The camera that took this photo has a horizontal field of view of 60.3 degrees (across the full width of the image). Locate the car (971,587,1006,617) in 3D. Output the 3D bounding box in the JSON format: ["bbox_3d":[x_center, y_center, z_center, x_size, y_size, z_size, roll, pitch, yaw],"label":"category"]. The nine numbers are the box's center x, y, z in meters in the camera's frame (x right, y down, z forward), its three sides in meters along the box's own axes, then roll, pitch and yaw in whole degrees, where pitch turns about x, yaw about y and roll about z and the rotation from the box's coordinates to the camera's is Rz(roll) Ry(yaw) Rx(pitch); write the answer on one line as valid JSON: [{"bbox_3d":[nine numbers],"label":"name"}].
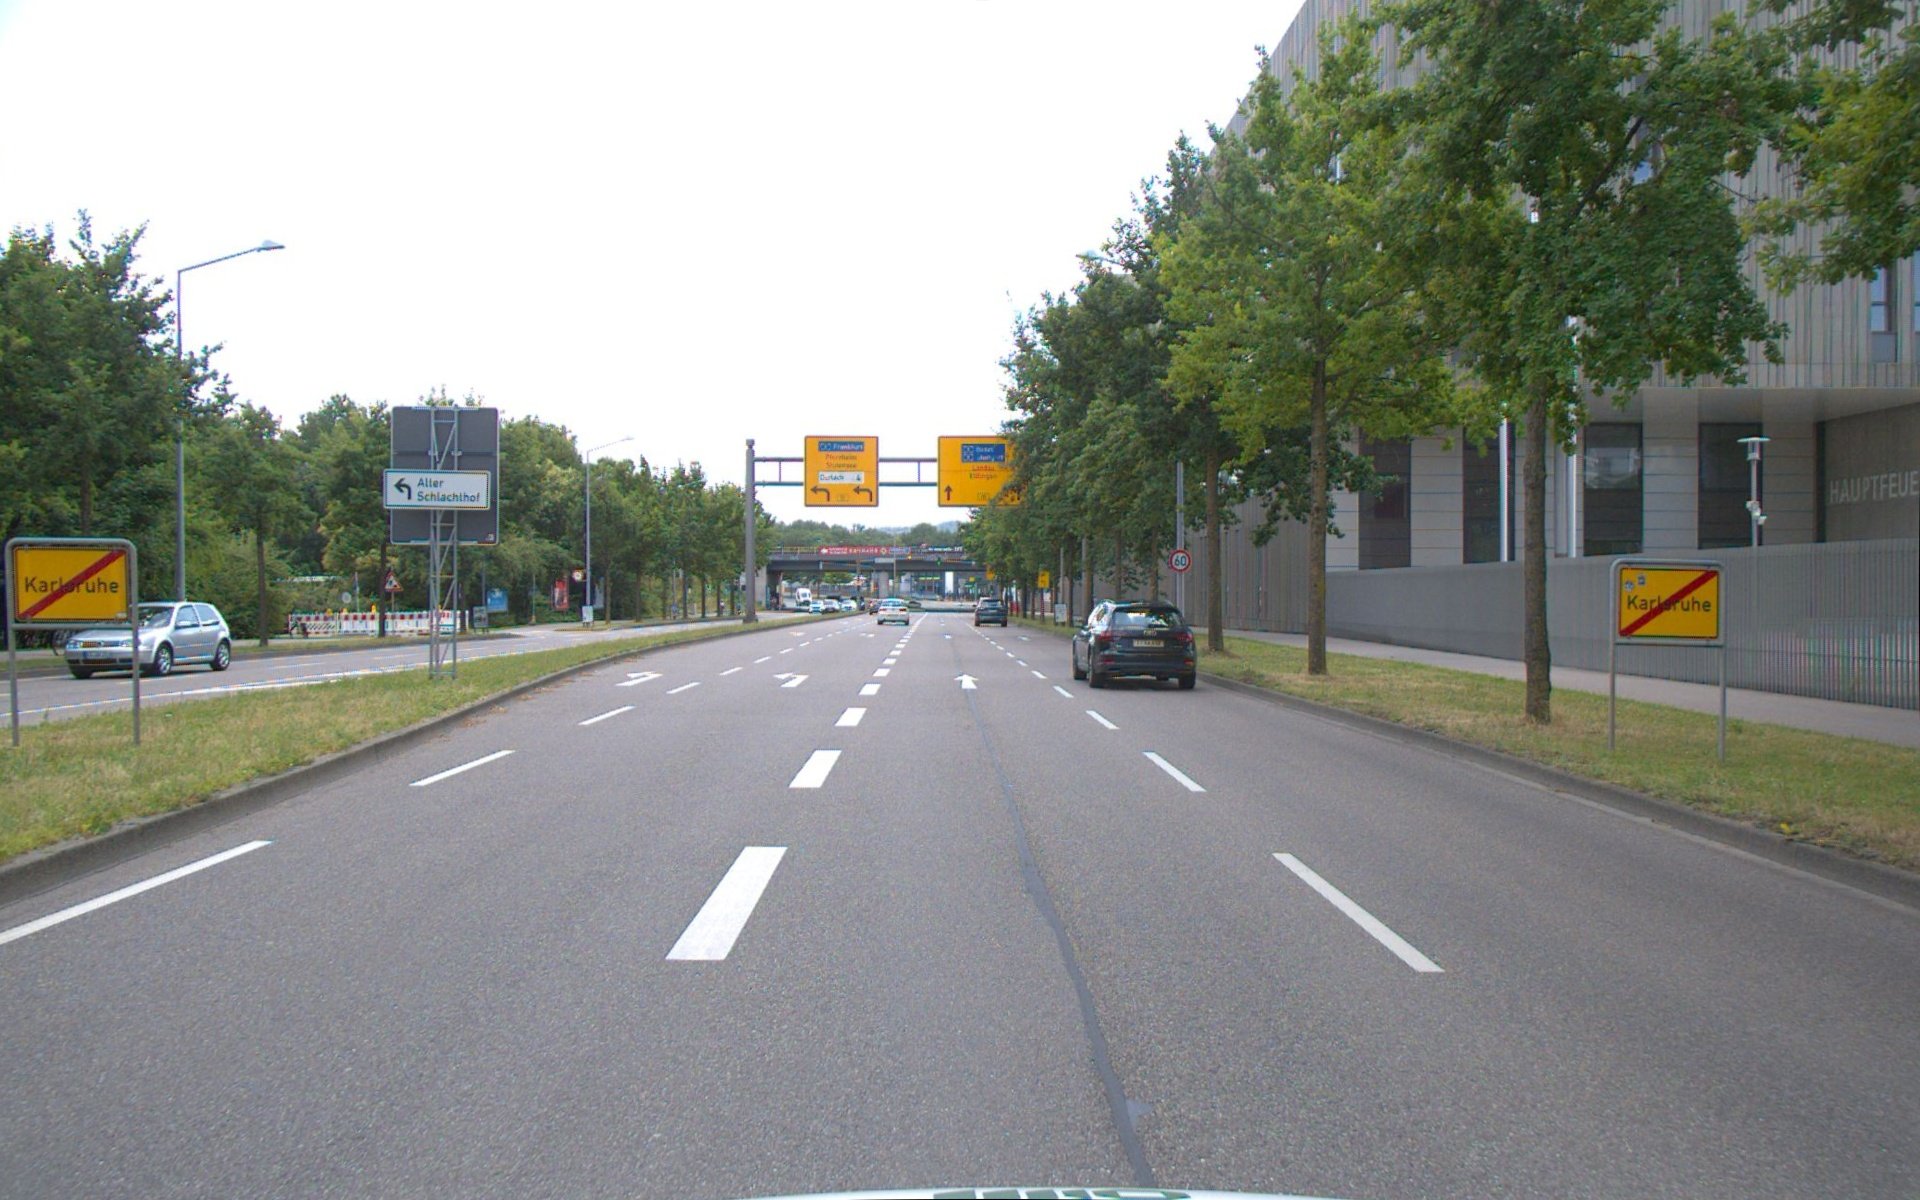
[{"bbox_3d":[1.661,0.094,95.350,1.952,1.654,4.310,-1,1,1],"label":"car"}]

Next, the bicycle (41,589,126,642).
[{"bbox_3d":[-21.746,0.365,41.106,0.791,1.248,2.502,0,0,0],"label":"bicycle"}]

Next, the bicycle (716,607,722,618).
[{"bbox_3d":[-25.222,1.317,173.353,0.450,1.109,1.473,2,-1,-2],"label":"bicycle"}]

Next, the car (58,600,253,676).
[{"bbox_3d":[-15.878,0.704,32.911,1.606,1.352,4.383,0,1,2],"label":"car"}]

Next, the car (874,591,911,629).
[{"bbox_3d":[-3.863,0.553,93.750,1.954,2.049,3.997,1,0,-4],"label":"car"}]

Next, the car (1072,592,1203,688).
[{"bbox_3d":[2.965,0.637,28.352,1.650,1.489,3.998,1,0,-2],"label":"car"}]

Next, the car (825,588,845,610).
[{"bbox_3d":[-16.637,-0.092,220.284,1.952,2.686,5.237,2,-1,2],"label":"car"}]

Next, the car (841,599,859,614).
[{"bbox_3d":[-13.314,0.811,200.252,1.953,1.747,3.999,2,-1,-1],"label":"car"}]

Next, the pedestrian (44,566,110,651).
[{"bbox_3d":[-21.776,0.201,40.824,0.950,2.049,1.249,0,0,0],"label":"pedestrian"}]

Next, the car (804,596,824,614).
[{"bbox_3d":[-16.215,0.564,183.499,1.953,1.814,3.998,2,-1,-2],"label":"car"}]

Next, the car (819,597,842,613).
[{"bbox_3d":[-13.155,0.488,168.378,1.953,1.646,4.000,0,0,0],"label":"car"}]

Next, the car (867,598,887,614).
[{"bbox_3d":[-7.855,0.549,156.325,1.739,1.489,3.997,1,0,-4],"label":"car"}]

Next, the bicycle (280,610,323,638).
[{"bbox_3d":[-26.024,0.935,65.338,0.876,1.078,2.329,0,0,-40],"label":"bicycle"}]

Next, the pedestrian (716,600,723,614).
[{"bbox_3d":[-25.203,0.763,173.298,0.547,1.425,0.563,2,-1,-2],"label":"pedestrian"}]
